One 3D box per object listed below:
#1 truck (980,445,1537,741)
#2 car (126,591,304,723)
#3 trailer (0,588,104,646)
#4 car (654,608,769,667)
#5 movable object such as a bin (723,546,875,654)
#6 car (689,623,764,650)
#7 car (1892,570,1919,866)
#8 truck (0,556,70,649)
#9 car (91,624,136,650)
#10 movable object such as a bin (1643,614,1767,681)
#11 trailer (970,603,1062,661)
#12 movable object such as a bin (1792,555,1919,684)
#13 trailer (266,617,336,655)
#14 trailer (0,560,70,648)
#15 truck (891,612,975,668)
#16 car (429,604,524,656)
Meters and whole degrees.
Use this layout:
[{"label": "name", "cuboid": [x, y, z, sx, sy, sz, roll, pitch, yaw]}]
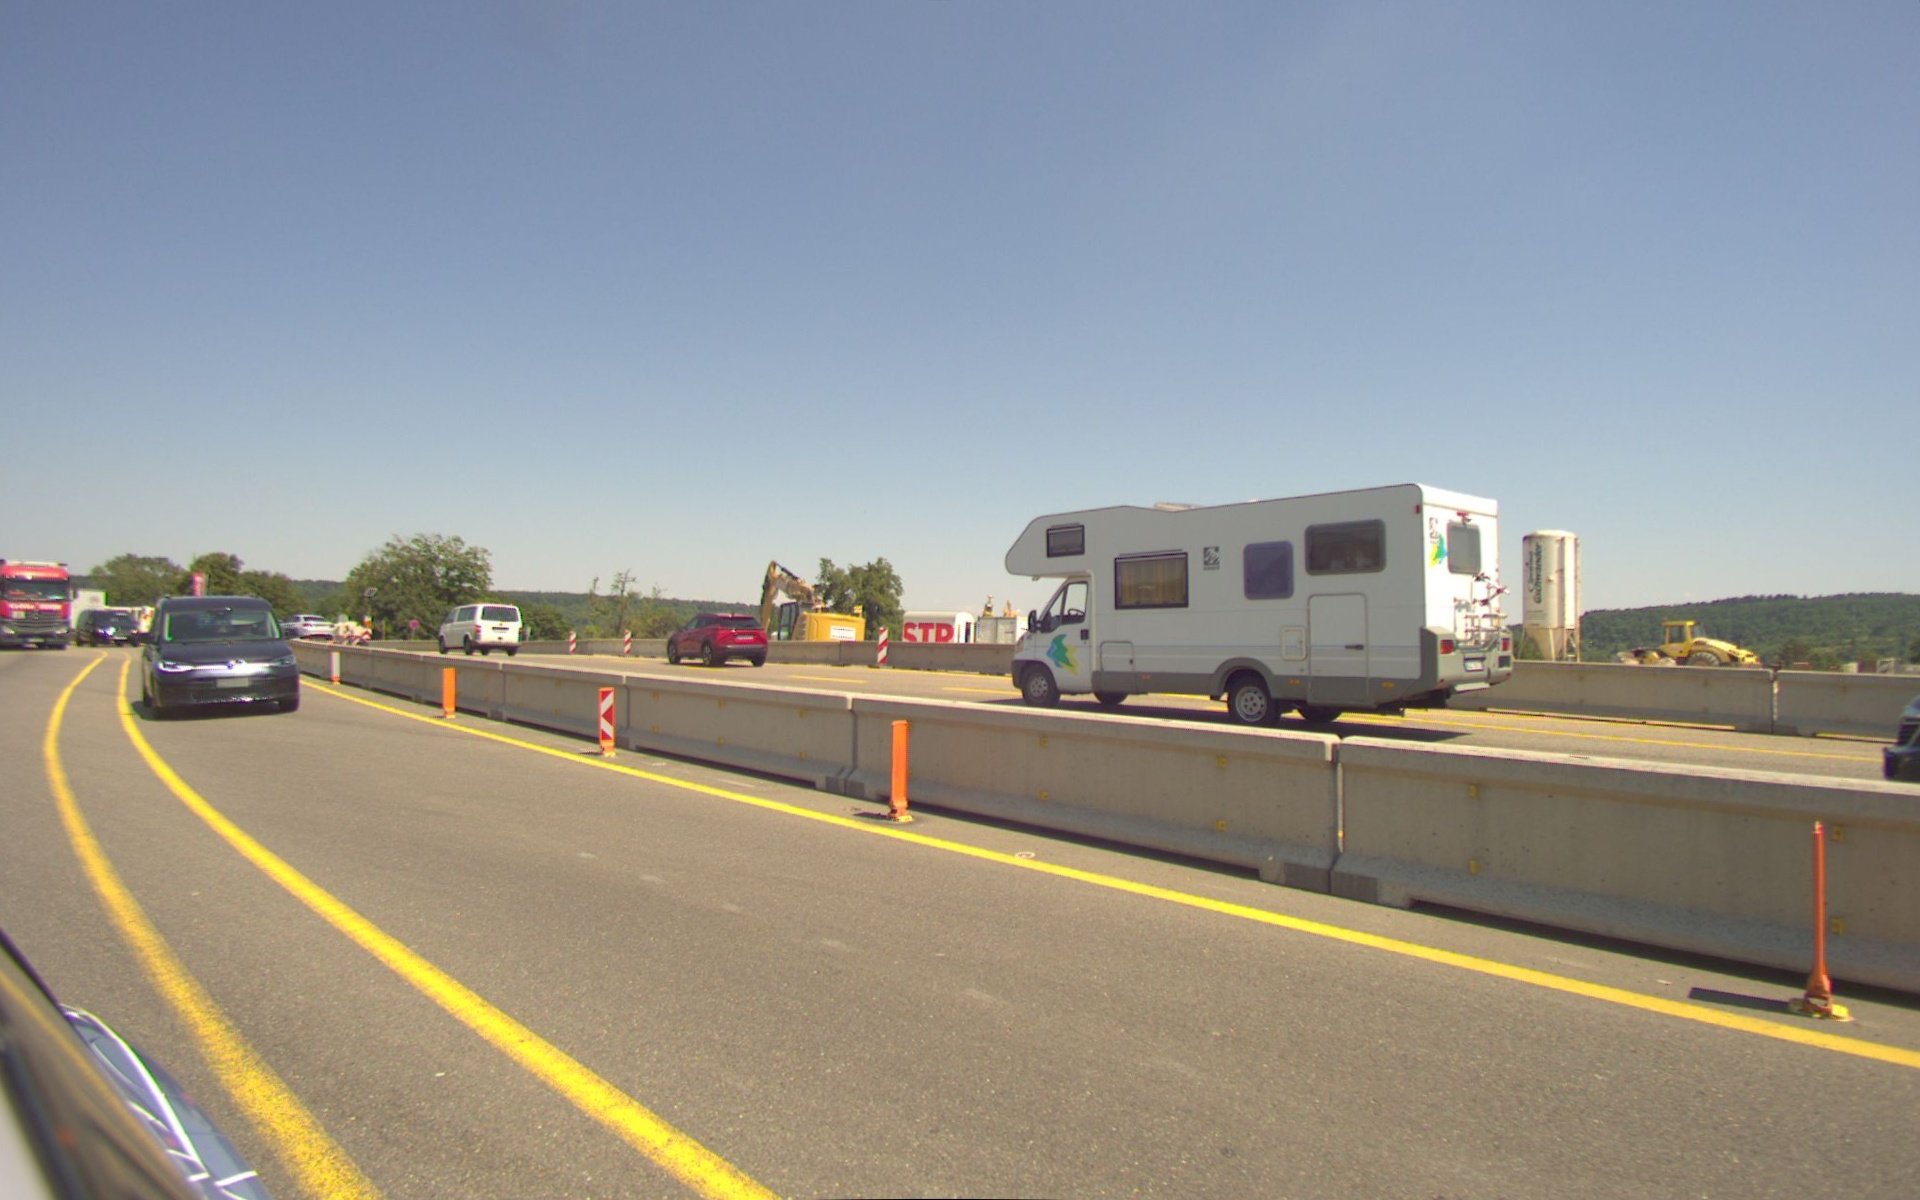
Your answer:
[{"label": "truck", "cuboid": [3.638, 0.034, 14.106, 2.412, 3.095, 7.256, 2, -3, -42]}, {"label": "car", "cuboid": [-12.068, 0.826, 16.269, 1.897, 1.803, 4.609, 1, -1, -41]}, {"label": "trailer", "cuboid": [-70.087, 1.363, 77.717, 13.018, 4.184, 2.567, -1, -2, 31]}, {"label": "car", "cuboid": [-7.491, 1.112, 30.260, 1.698, 1.640, 4.345, 2, -3, -38]}, {"label": "movable object such as a bin", "cuboid": [-7.462, 0.150, 45.437, 2.885, 4.363, 9.349, 2, -3, -35]}, {"label": "car", "cuboid": [-15.075, 2.346, 65.329, 4.866, 1.726, 1.707, -1, -2, 31]}, {"label": "car", "cuboid": [7.356, 0.627, 4.711, 4.396, 1.617, 1.642, -2, -3, 43]}, {"label": "truck", "cuboid": [-41.982, 0.180, 45.544, 2.589, 3.933, 4.938, 2, -3, -44]}, {"label": "car", "cuboid": [-43.409, 1.887, 51.852, 1.689, 1.271, 4.006, 2, -3, -41]}, {"label": "movable object such as a bin", "cuboid": [36.627, 2.314, 49.882, 1.966, 3.165, 4.497, 2, -3, -34]}, {"label": "trailer", "cuboid": [3.149, 1.759, 55.561, 2.873, 3.020, 5.523, -1, -2, 30]}, {"label": "movable object such as a bin", "cuboid": [24.142, 0.515, 25.659, 1.966, 3.165, 4.288, 2, -3, -34]}, {"label": "trailer", "cuboid": [-36.781, 1.978, 56.455, 4.428, 2.037, 1.848, -1, -3, 37]}, {"label": "trailer", "cuboid": [-46.895, 0.313, 49.757, 12.410, 3.904, 2.668, -1, -3, 39]}, {"label": "truck", "cuboid": [-1.546, 2.239, 57.541, 4.249, 3.067, 2.324, -1, -2, 31]}, {"label": "car", "cuboid": [-19.424, 1.209, 40.564, 4.894, 1.968, 1.844, -2, -3, 44]}]
